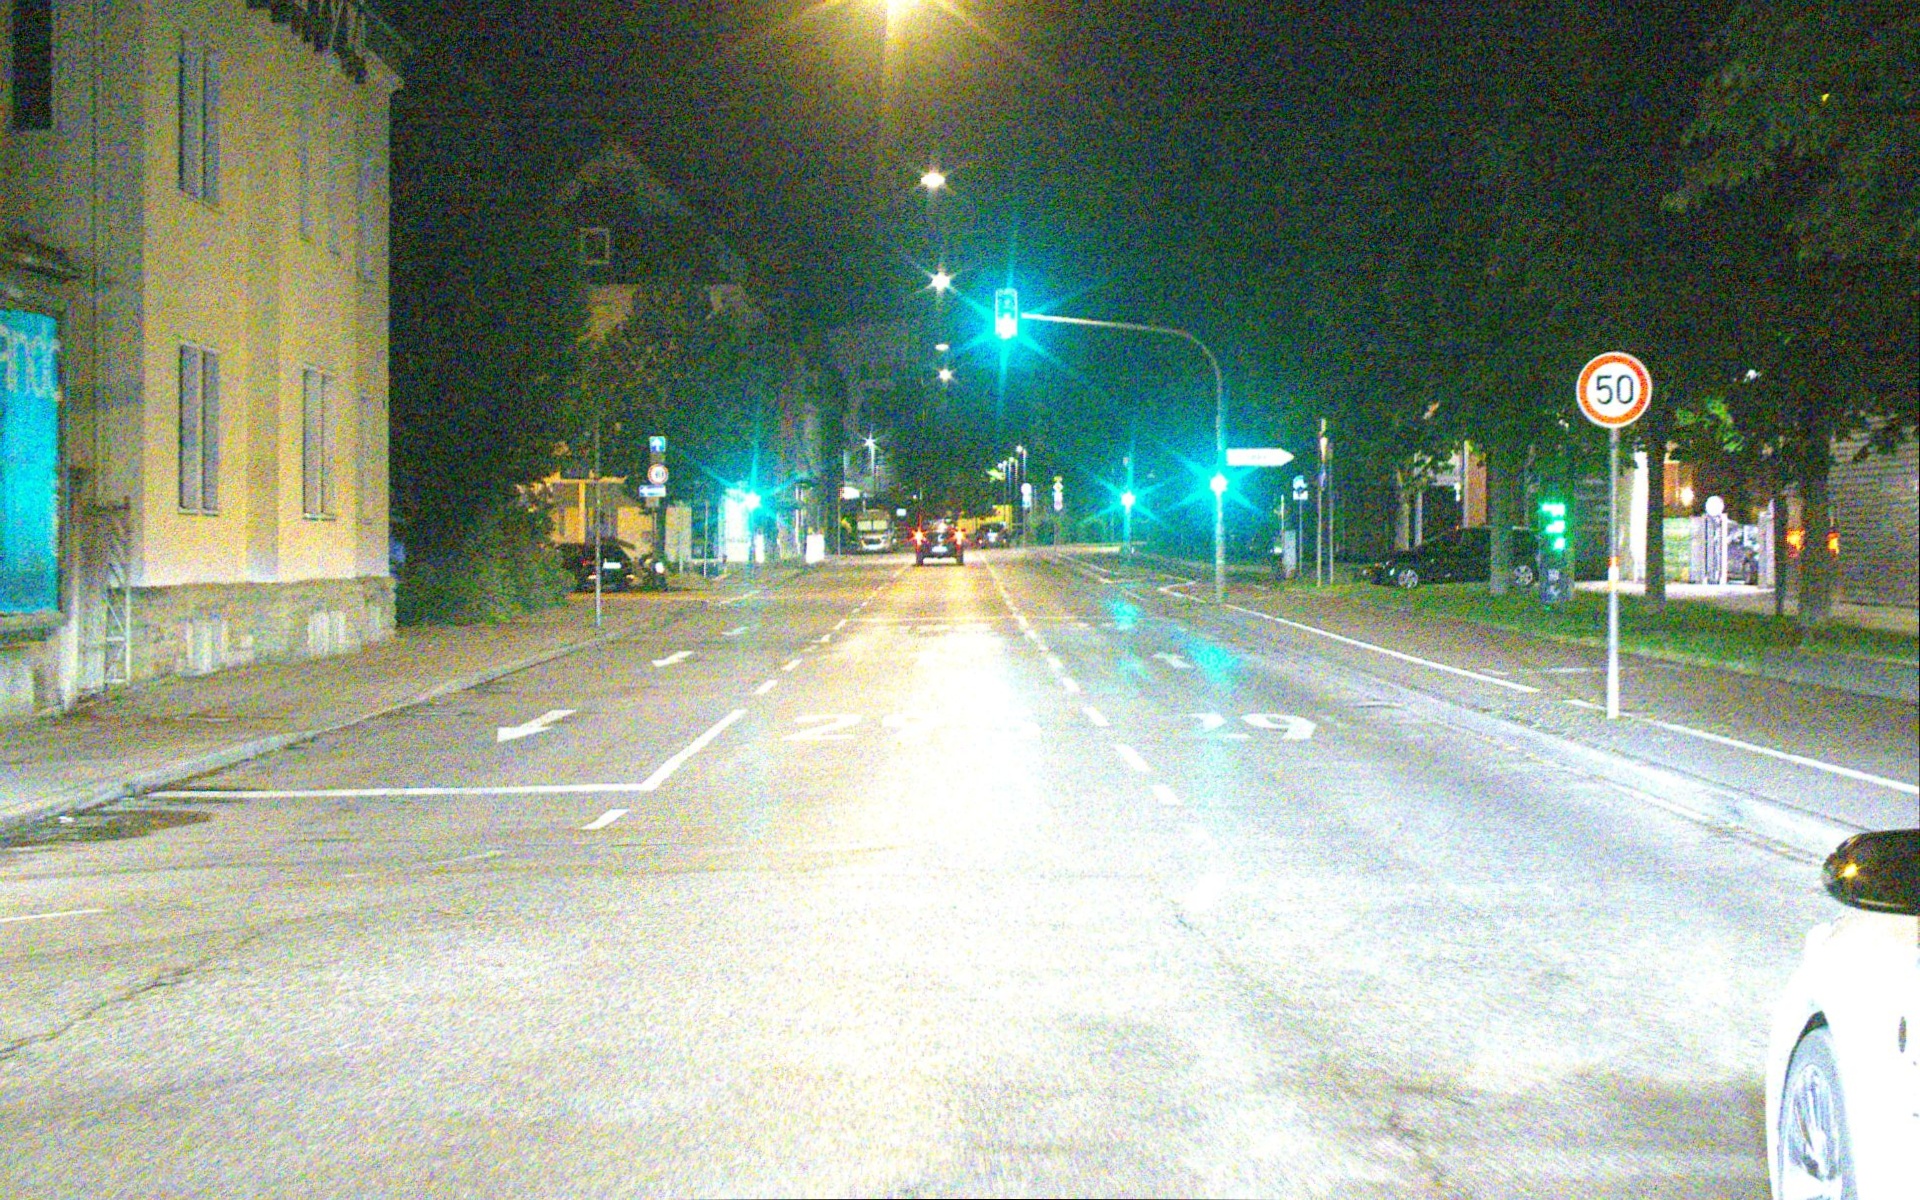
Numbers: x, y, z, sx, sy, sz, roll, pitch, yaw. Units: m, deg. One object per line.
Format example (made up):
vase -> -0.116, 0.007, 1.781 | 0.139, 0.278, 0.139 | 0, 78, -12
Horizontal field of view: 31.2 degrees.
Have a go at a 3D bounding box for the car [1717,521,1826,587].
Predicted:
car -> 18.926, -1.085, 80.319 | 1.573, 1.482, 3.832 | -1, 1, -1

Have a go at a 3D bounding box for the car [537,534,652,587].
car -> -10.730, -1.168, 100.736 | 1.803, 1.481, 4.000 | -1, 1, -32

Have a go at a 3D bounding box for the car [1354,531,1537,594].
car -> 11.107, -0.865, 78.836 | 3.987, 1.382, 1.771 | -1, 1, 3

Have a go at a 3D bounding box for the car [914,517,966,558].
car -> -0.807, -2.497, 137.574 | 1.993, 1.634, 4.000 | 0, 1, -2

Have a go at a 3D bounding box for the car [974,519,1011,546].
car -> 1.940, -4.065, 206.209 | 1.993, 1.590, 4.001 | -1, 1, -3

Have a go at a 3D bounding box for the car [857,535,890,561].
car -> -4.816, -2.899, 191.797 | 1.777, 1.385, 4.001 | -1, 1, -2

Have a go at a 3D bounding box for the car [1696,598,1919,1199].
car -> 2.405, 0.774, 4.876 | 1.729, 1.430, 4.211 | 2, 1, -1

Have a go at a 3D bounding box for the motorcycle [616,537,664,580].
motorcycle -> -9.106, -1.186, 97.797 | 0.781, 1.200, 2.450 | -1, 1, -19
